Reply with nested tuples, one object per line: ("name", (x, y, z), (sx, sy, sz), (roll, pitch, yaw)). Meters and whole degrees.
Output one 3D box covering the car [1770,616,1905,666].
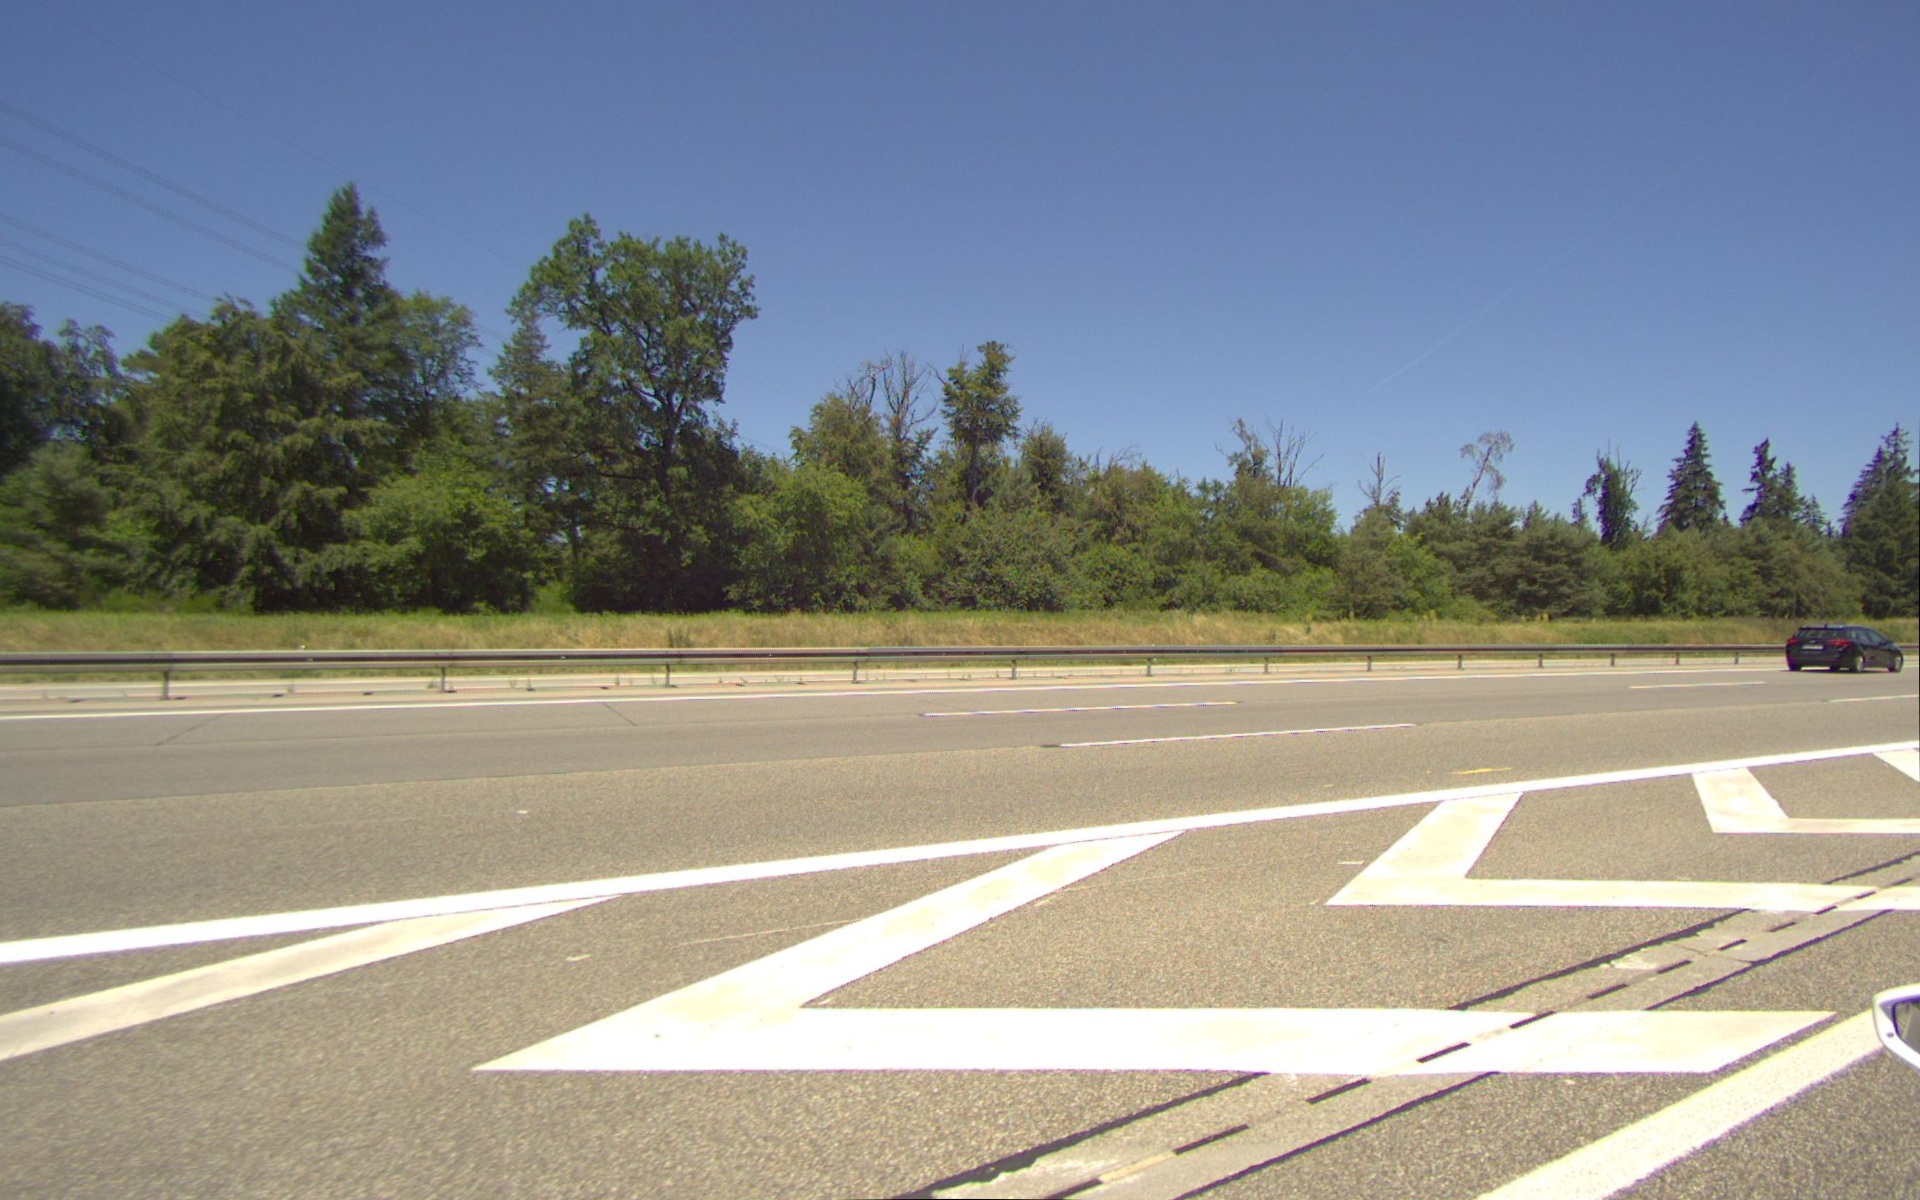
("car", (28.002, 1.275, 32.040), (4.537, 1.494, 1.697), (0, -1, -27))
